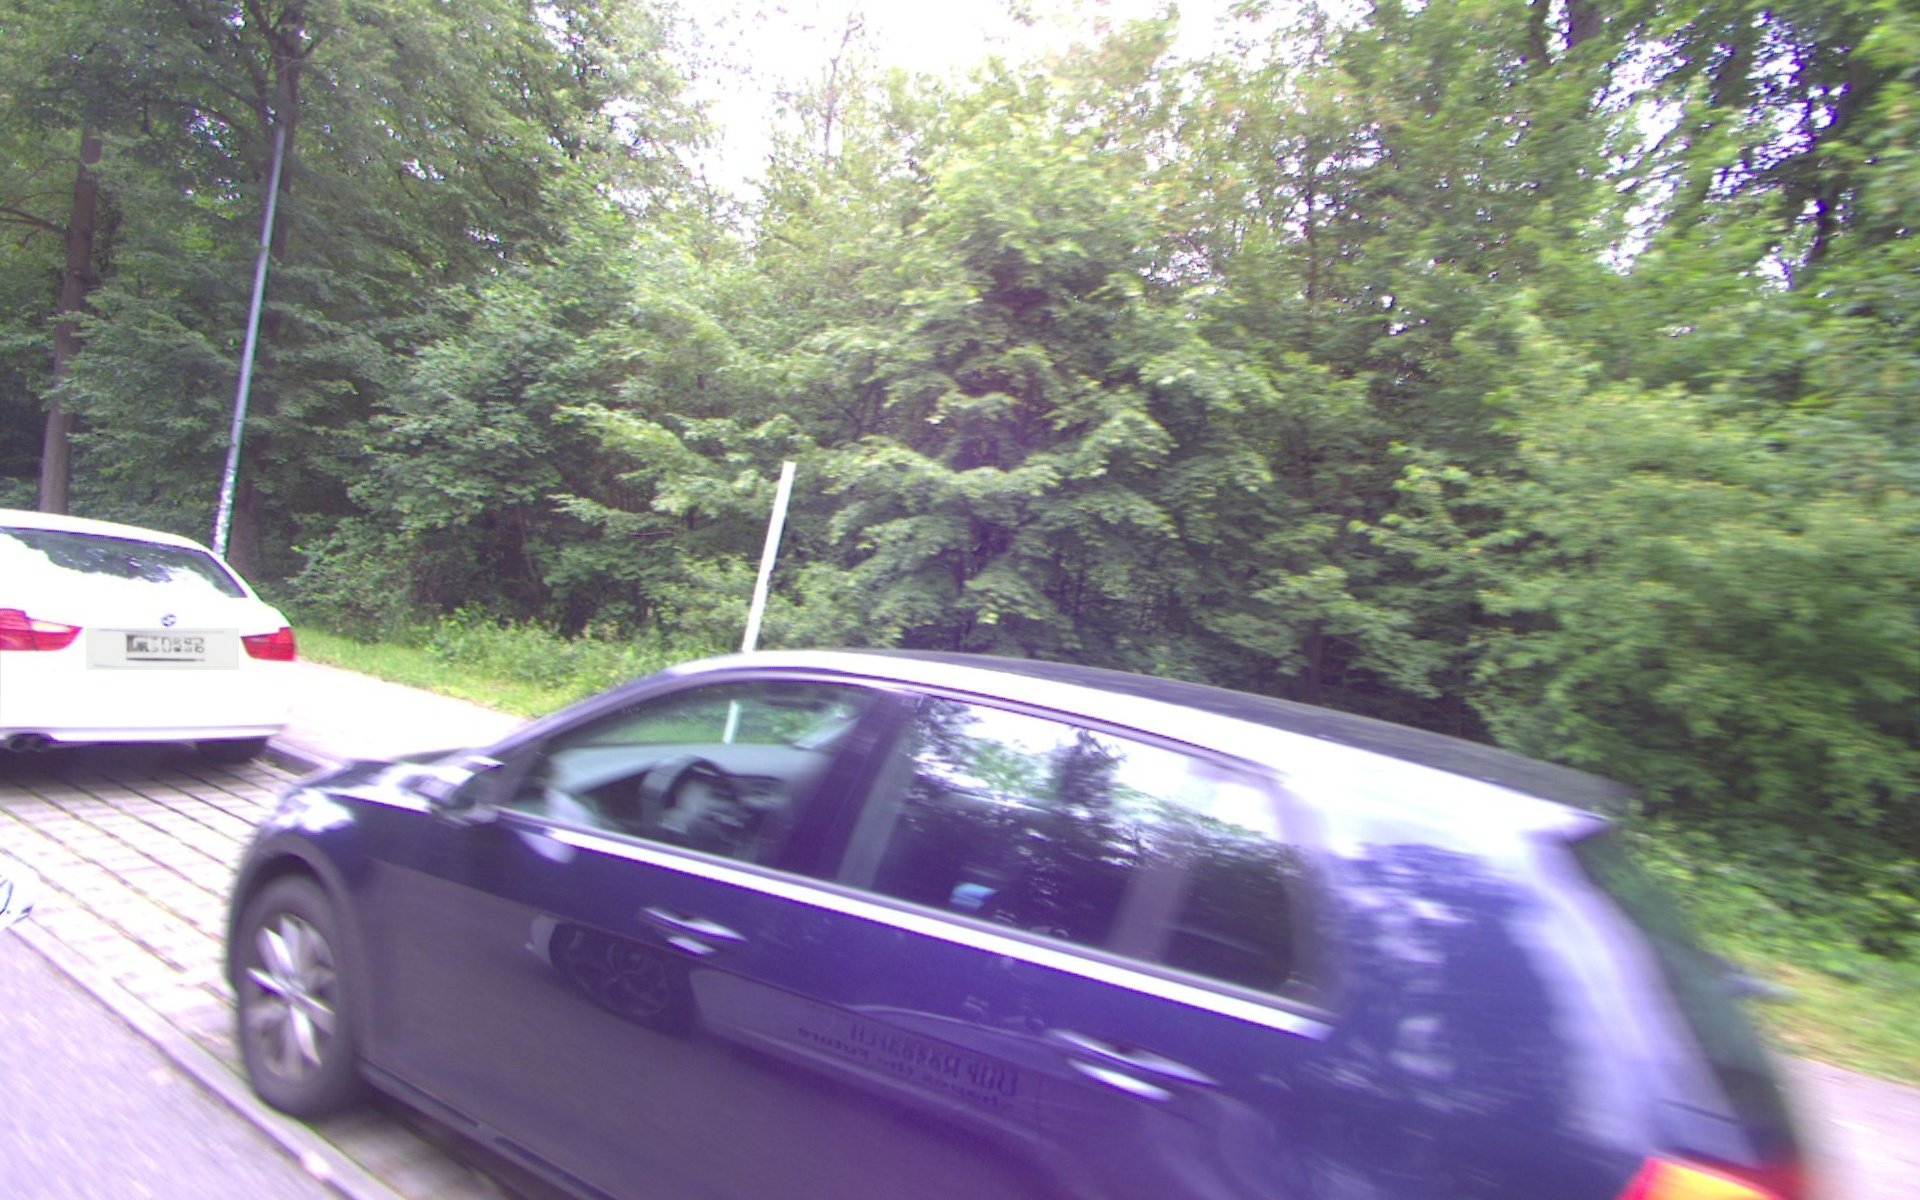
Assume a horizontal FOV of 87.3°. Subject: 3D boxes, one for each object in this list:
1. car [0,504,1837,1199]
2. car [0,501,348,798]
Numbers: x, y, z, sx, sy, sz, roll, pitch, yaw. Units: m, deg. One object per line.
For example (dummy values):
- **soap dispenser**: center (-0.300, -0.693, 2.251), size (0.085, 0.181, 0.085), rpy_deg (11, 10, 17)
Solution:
- **car**: center (-0.720, 0.727, 3.028), size (4.664, 1.451, 1.741), rpy_deg (7, -2, 29)
- **car**: center (-6.112, 0.095, 6.522), size (4.354, 1.423, 1.740), rpy_deg (7, -2, 31)
